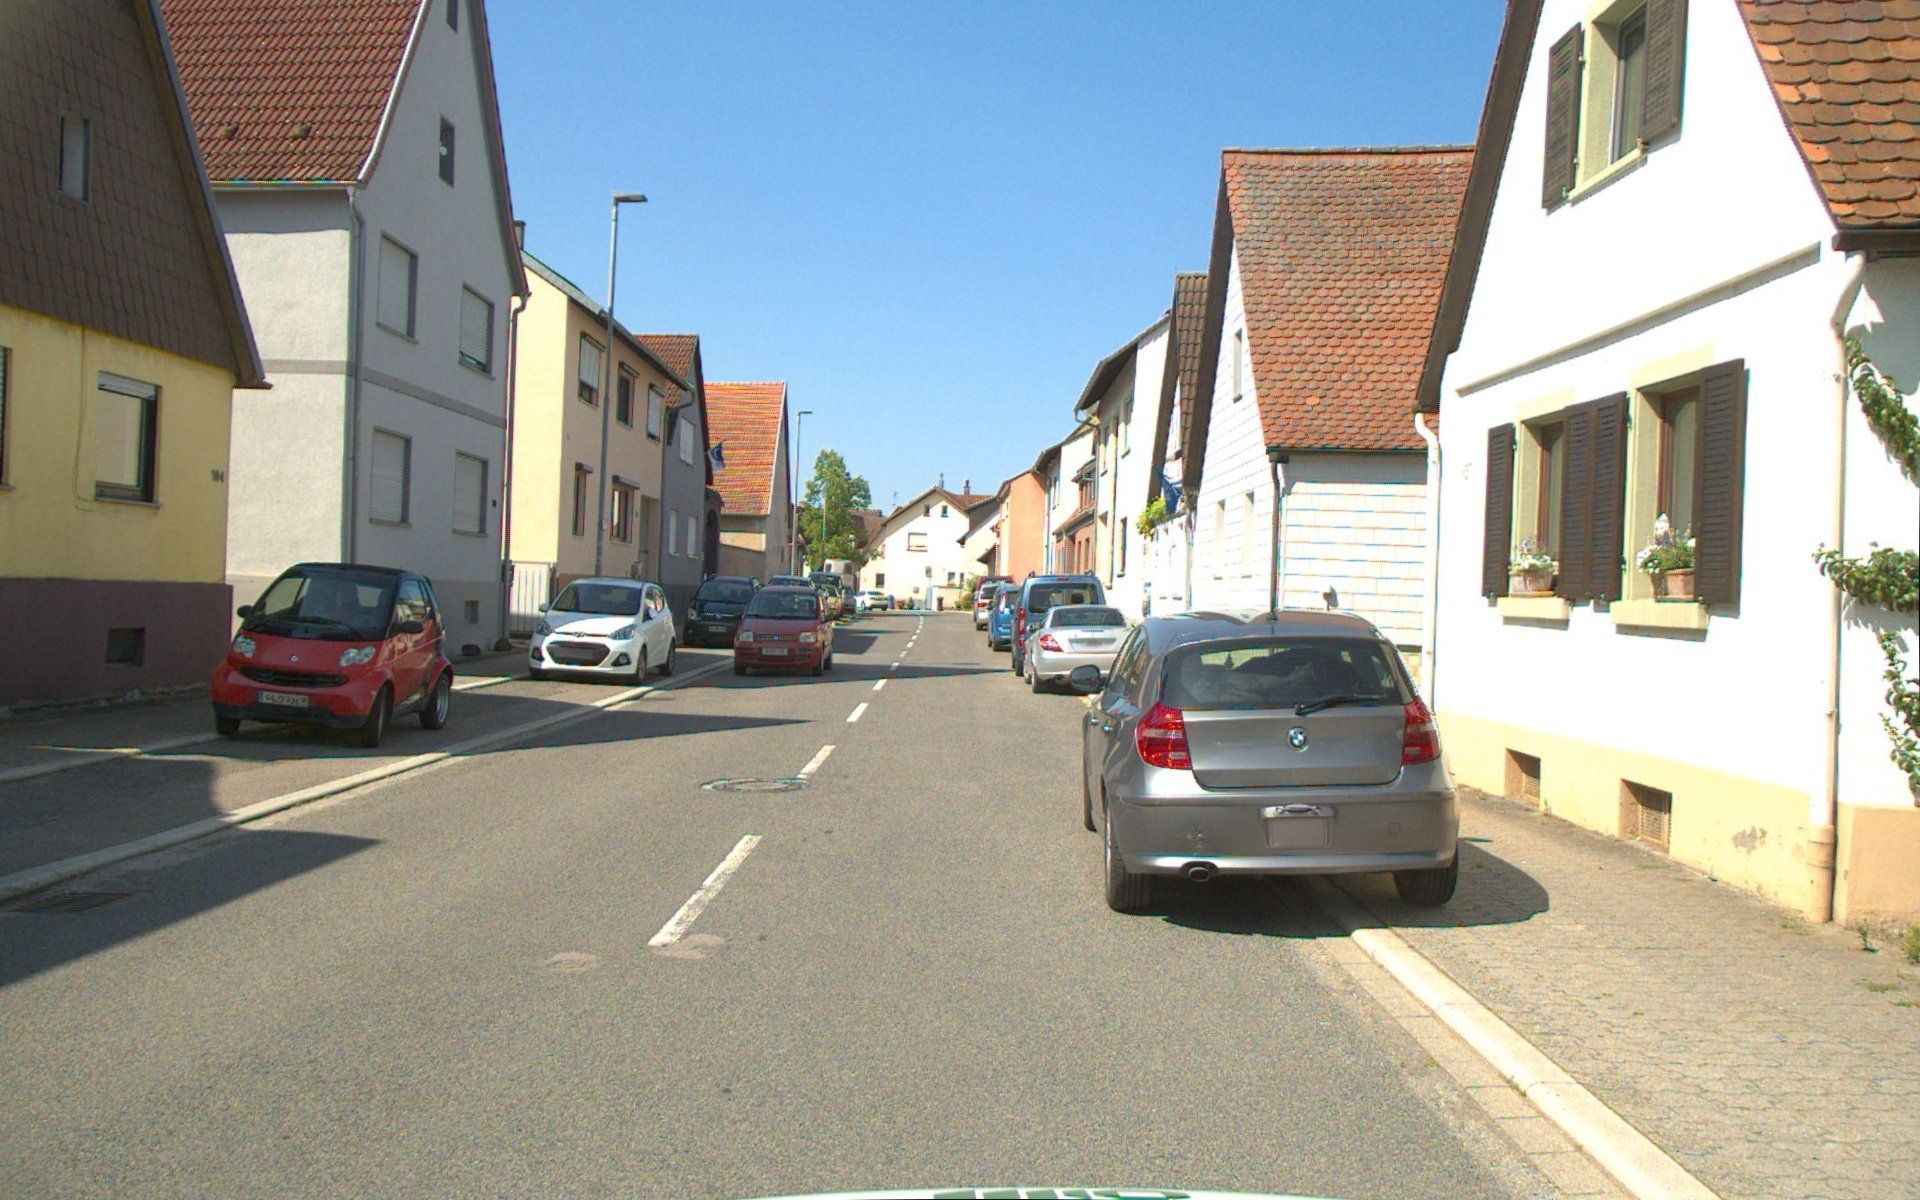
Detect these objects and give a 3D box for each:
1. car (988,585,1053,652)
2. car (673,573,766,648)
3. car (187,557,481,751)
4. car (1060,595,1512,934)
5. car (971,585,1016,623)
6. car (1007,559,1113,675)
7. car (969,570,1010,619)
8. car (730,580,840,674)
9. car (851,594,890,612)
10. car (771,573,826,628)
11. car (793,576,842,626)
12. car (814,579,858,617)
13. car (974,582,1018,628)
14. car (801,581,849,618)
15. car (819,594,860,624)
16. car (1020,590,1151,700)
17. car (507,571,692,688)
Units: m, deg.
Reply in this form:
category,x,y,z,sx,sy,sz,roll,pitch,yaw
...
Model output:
category,x,y,z,sx,sy,sz,roll,pitch,yaw
car,1.490,0.446,41.728,1.391,1.541,3.303,3,0,-1
car,-5.597,0.236,38.832,1.586,1.605,3.961,3,0,-1
car,-5.752,0.457,15.540,1.520,1.571,2.988,3,0,1
car,1.532,0.707,9.106,1.670,1.458,3.889,0,0,-1
car,1.345,0.178,67.121,1.730,1.458,3.450,1,0,0
car,1.799,0.293,30.688,1.616,1.943,3.625,3,0,-1
car,1.287,-0.220,72.500,1.730,2.039,3.450,1,0,0
car,-3.085,0.454,29.772,1.568,1.515,3.625,3,0,-1
car,-6.675,0.218,122.671,1.962,1.311,3.981,2,0,-17
car,-5.508,0.022,56.626,1.496,1.743,3.625,3,0,-1
car,-5.310,0.027,61.868,1.496,1.743,3.625,3,0,-1
car,-5.666,-0.062,76.020,1.718,1.653,3.999,1,0,-1
car,1.281,0.177,59.307,1.391,1.541,3.303,3,0,-1
car,-5.583,-0.007,68.684,1.718,1.467,3.999,1,0,-1
car,-6.186,0.469,85.353,1.718,1.467,4.000,1,0,1
car,1.890,0.657,25.820,1.670,1.523,3.452,3,0,-1
car,-5.451,0.418,25.583,1.769,1.574,4.404,3,0,1
